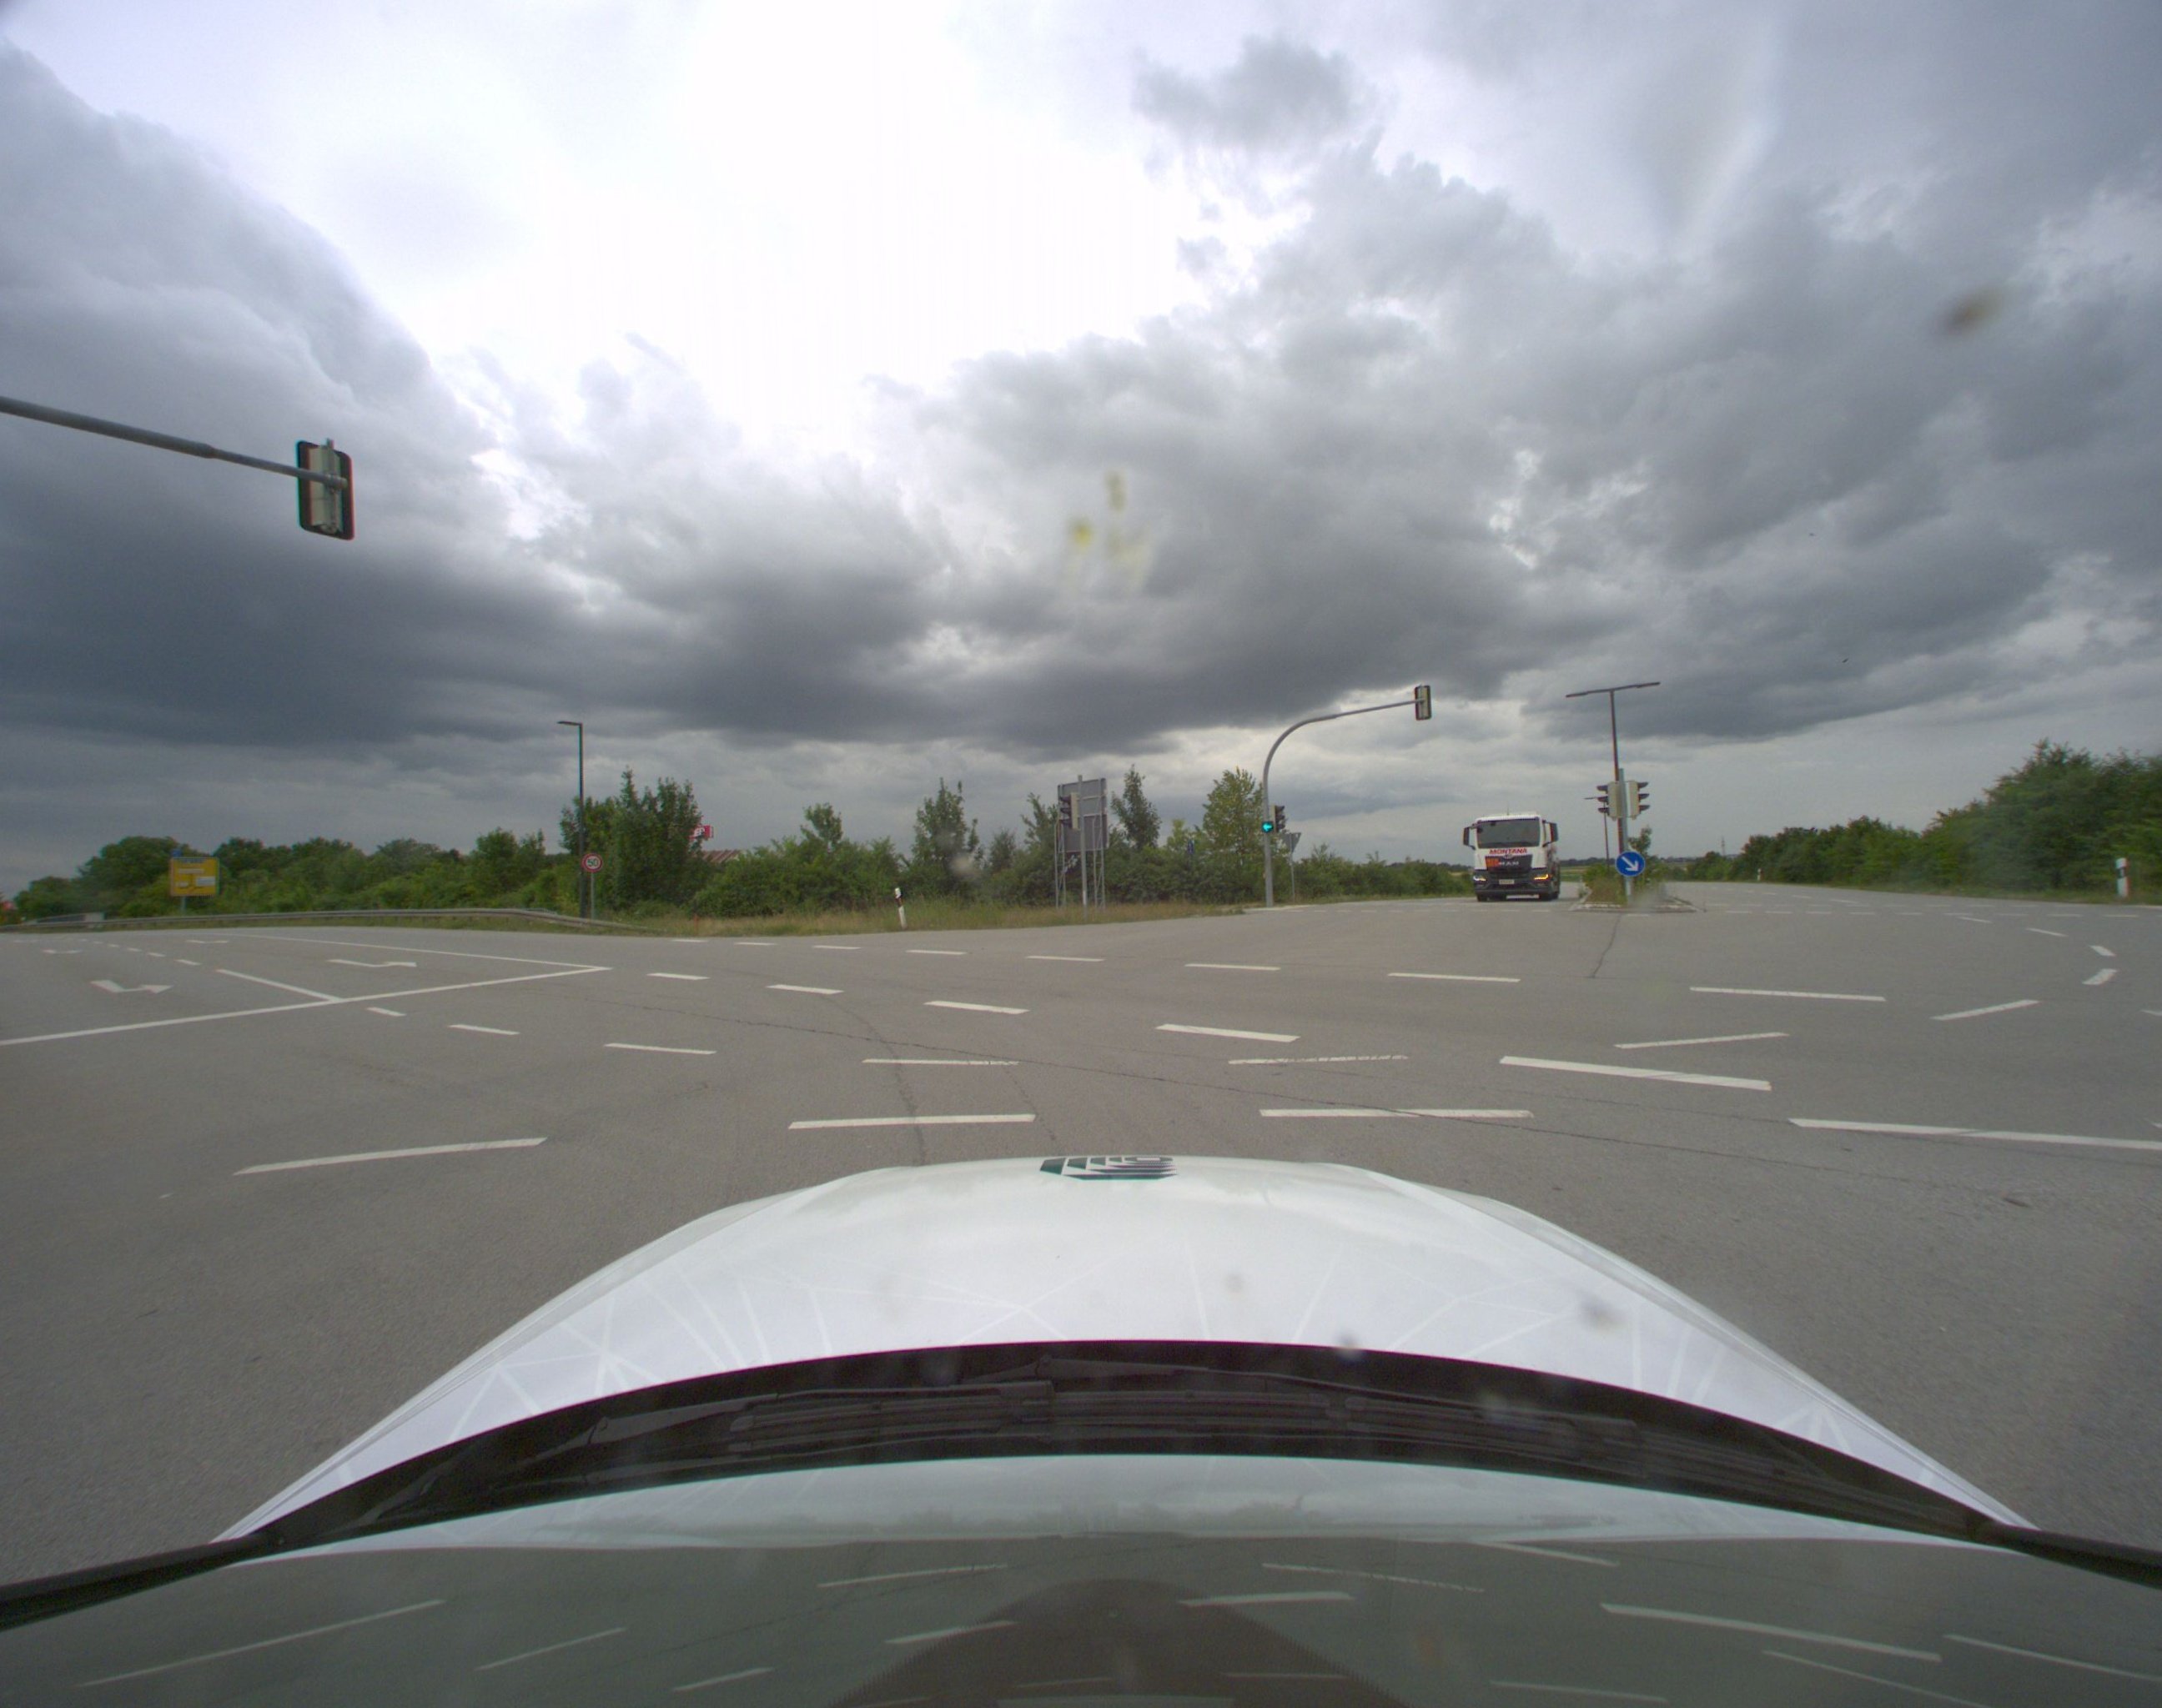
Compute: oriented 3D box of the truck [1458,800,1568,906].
[{"bbox_3d":[16.652,0.083,31.026,2.842,3.409,8.704,-4,-3,32],"label":"truck"}]
